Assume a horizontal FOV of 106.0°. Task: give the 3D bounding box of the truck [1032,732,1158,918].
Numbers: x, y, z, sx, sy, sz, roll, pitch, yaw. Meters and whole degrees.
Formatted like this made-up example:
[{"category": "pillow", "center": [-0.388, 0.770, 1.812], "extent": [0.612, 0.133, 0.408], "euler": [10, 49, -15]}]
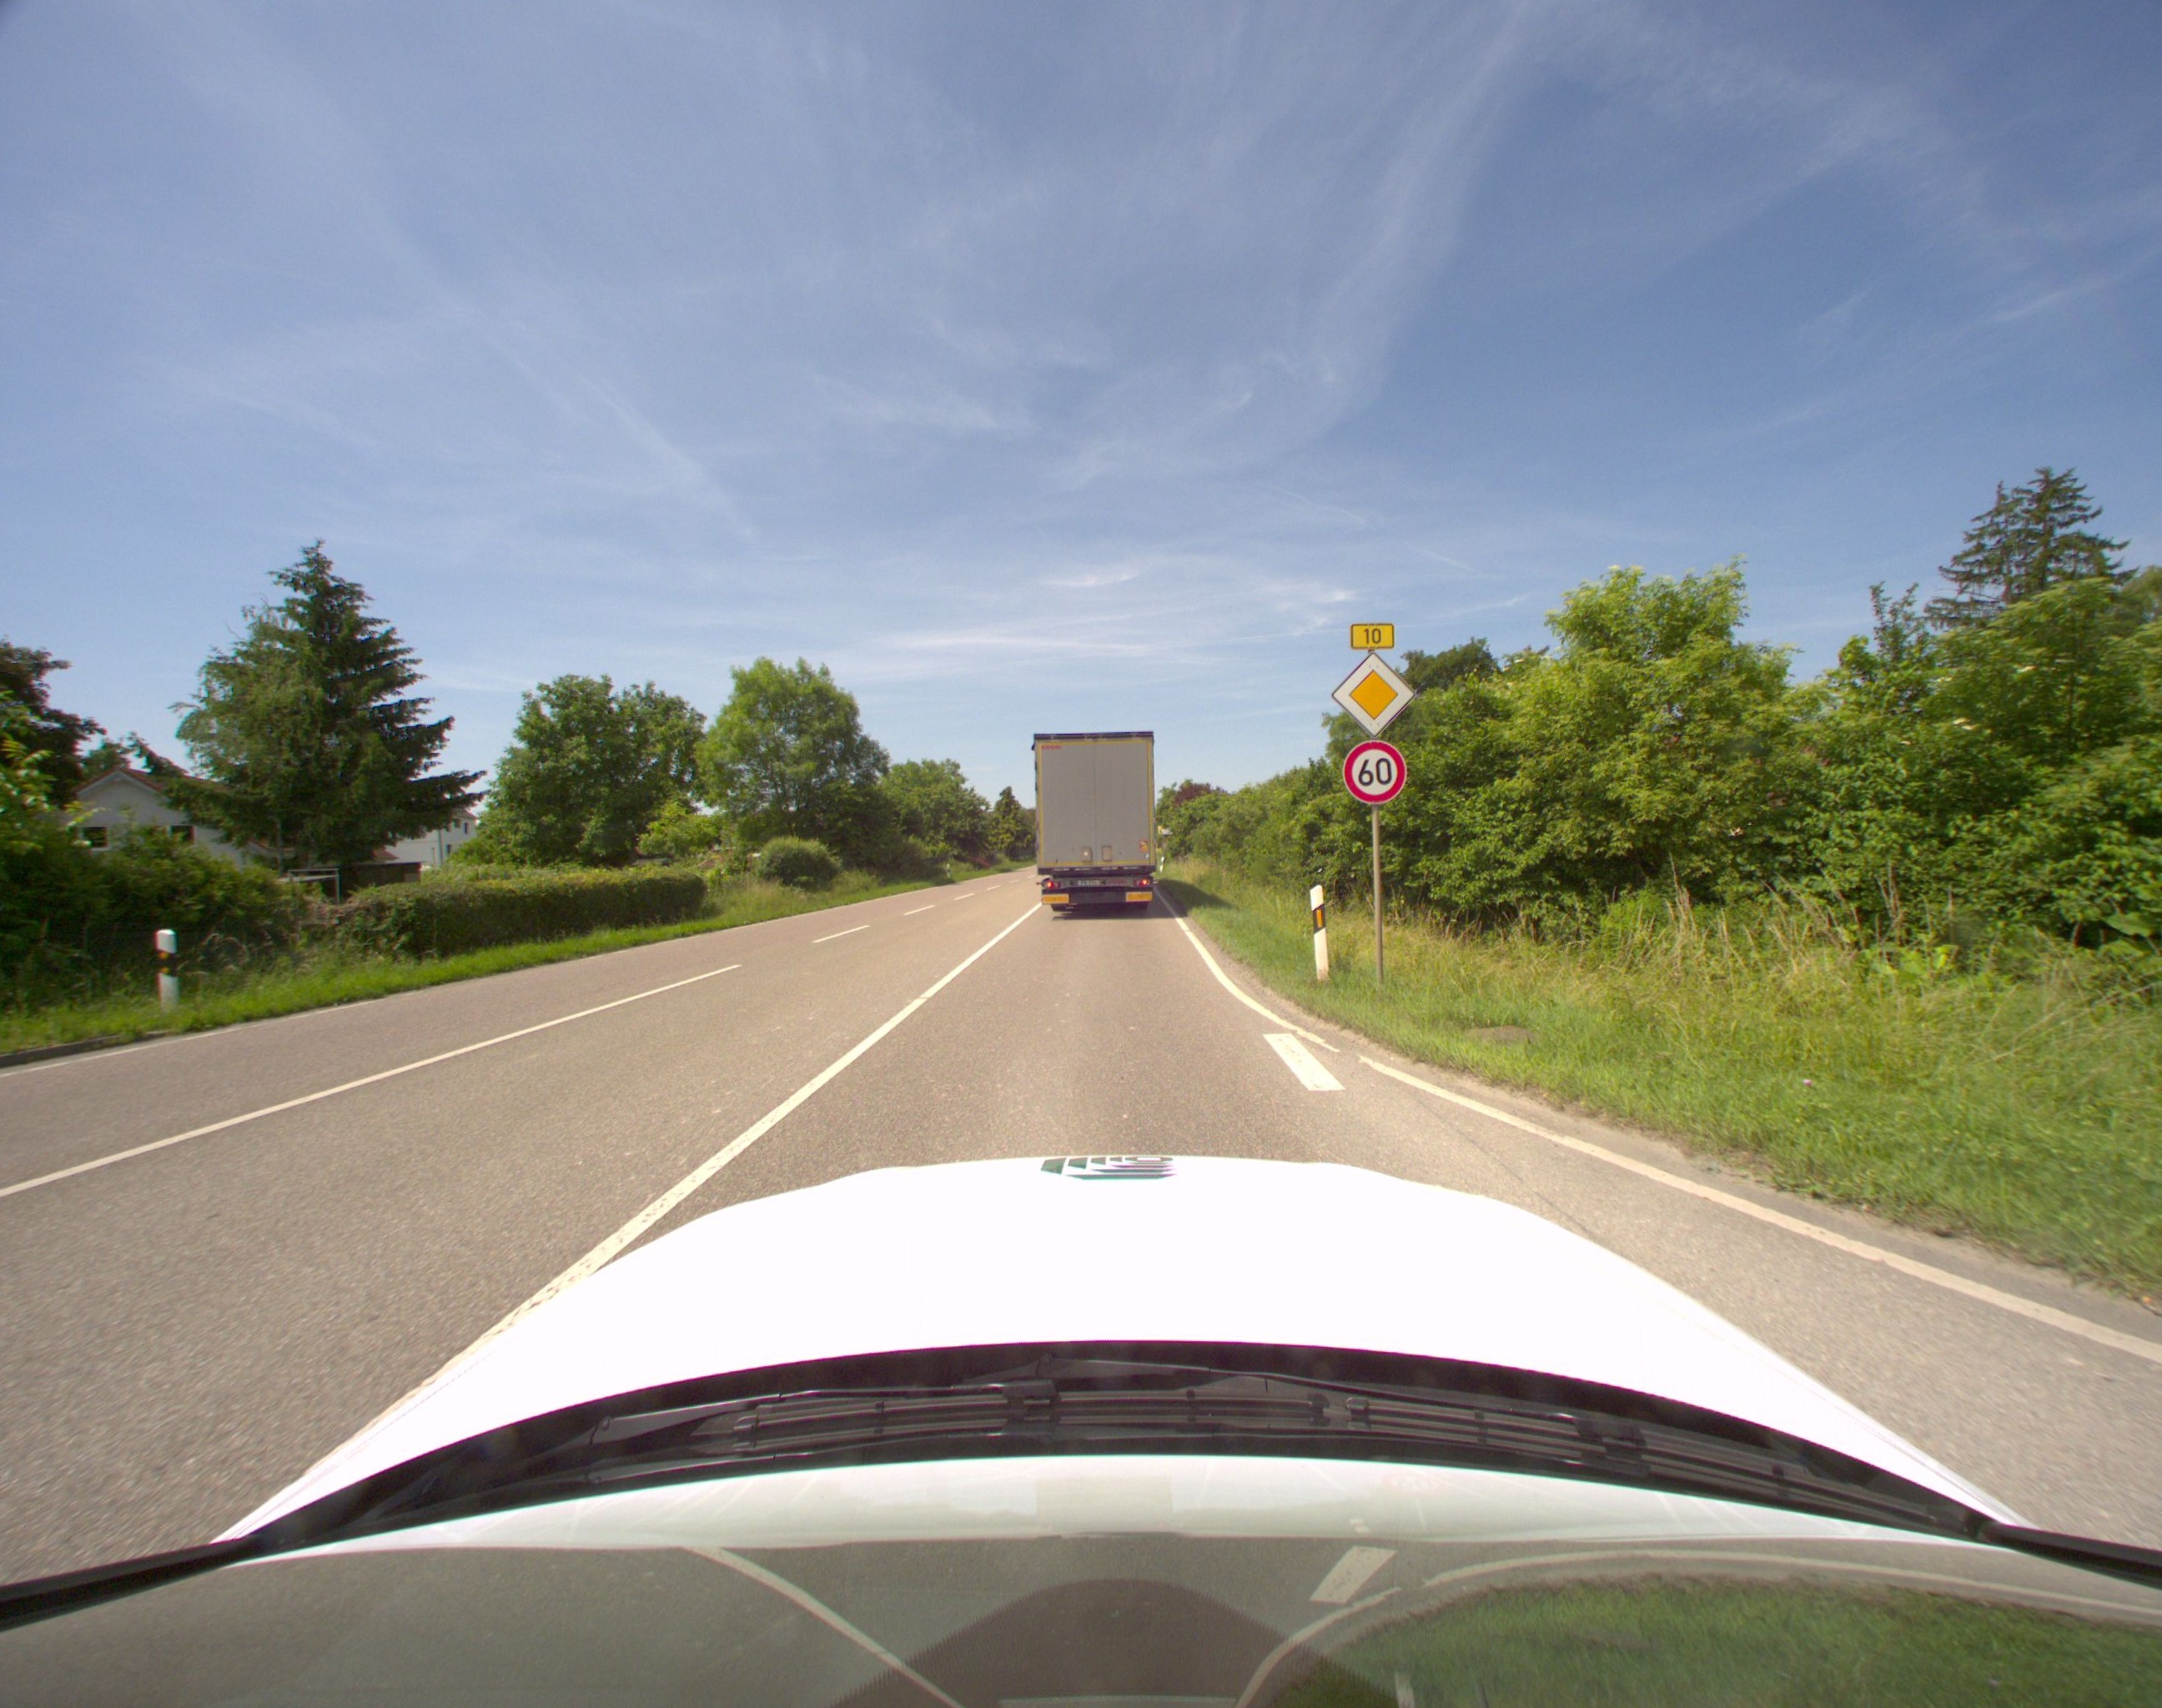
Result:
[{"category": "truck", "center": [0.411, -0.650, 21.655], "extent": [2.638, 3.917, 8.828], "euler": [-1, 0, 1]}]
